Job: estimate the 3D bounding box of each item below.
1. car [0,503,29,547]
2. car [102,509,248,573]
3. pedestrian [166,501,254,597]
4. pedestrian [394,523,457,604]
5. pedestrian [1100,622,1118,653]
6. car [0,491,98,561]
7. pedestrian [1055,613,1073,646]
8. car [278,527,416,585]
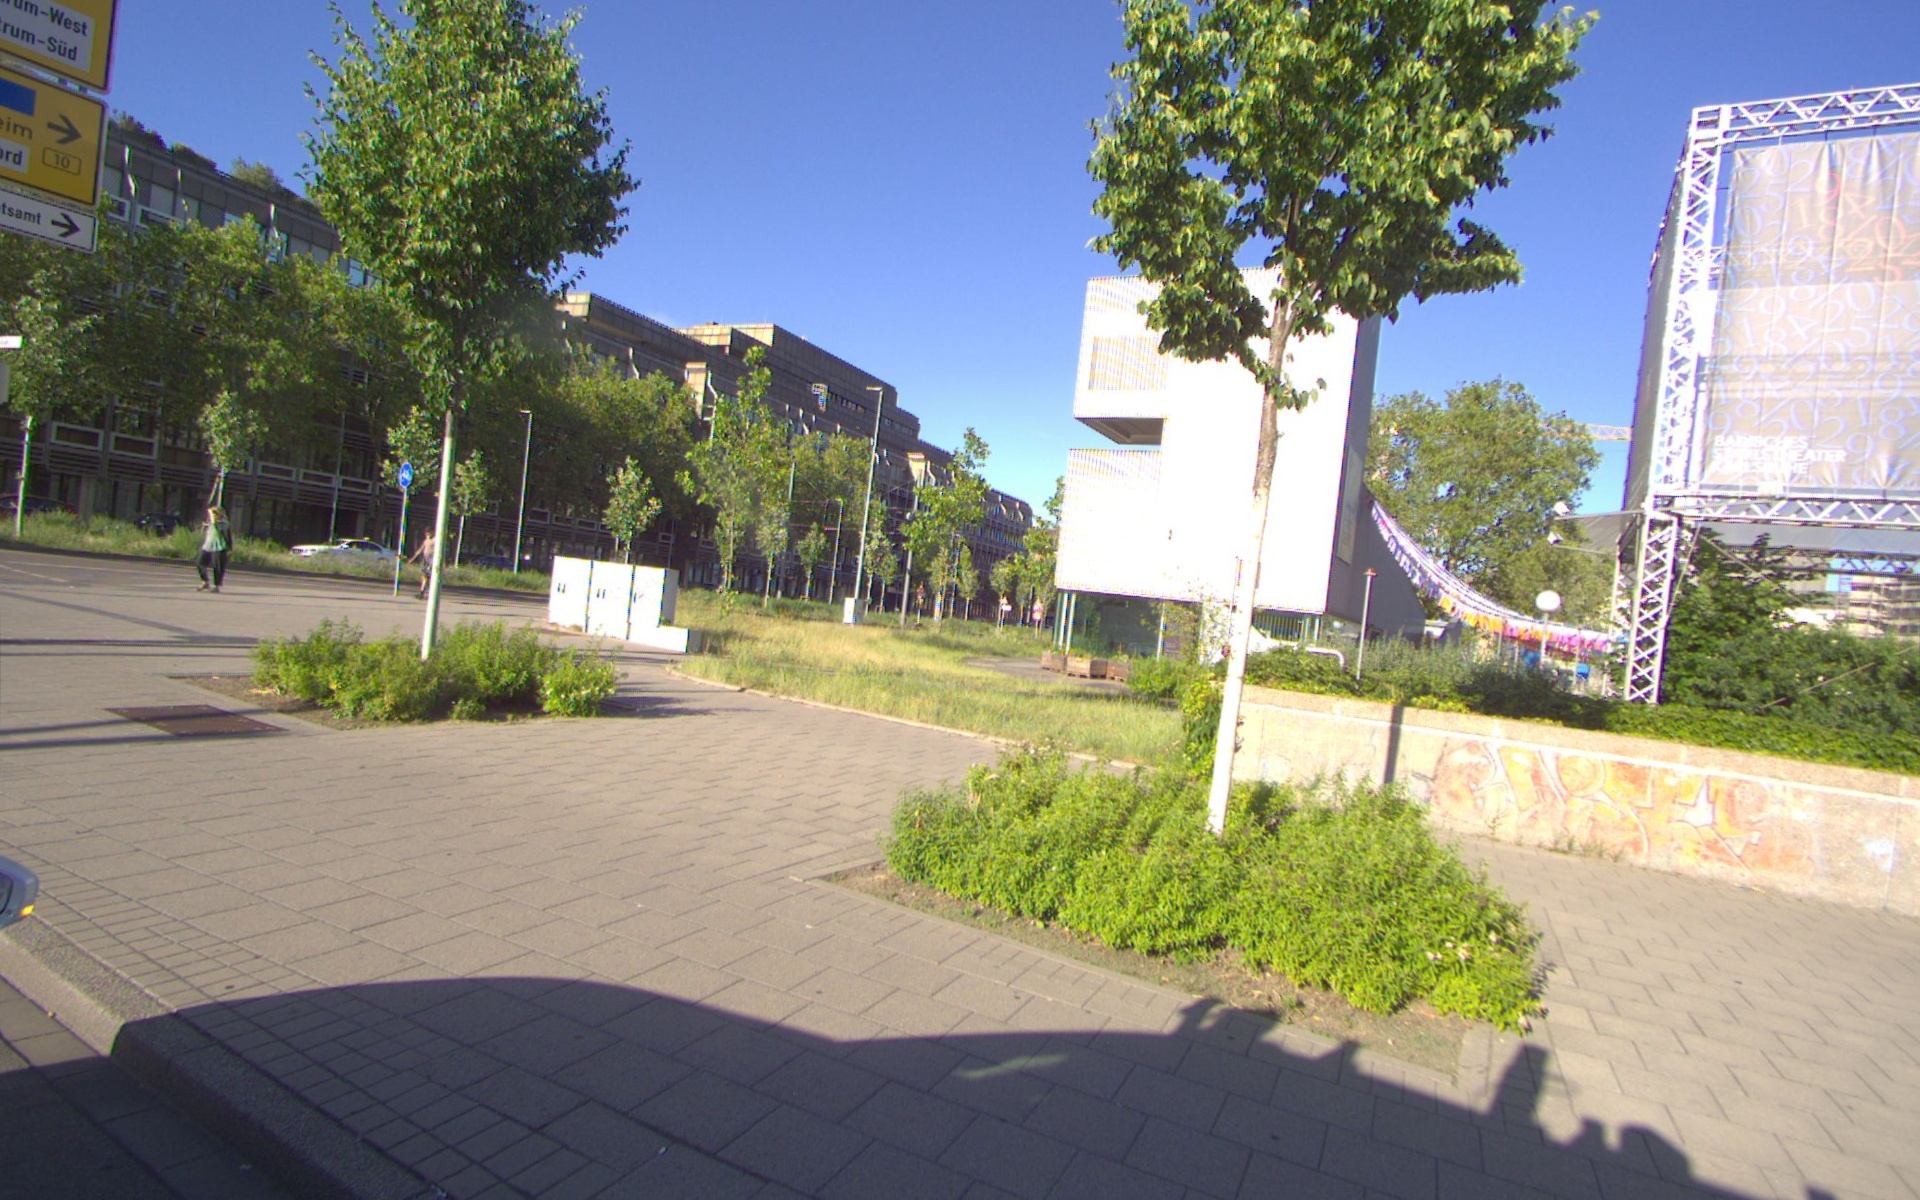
[{"bbox_3d":[-37.245,-3.042,36.939,1.836,1.525,3.997,7,-2,29],"label":"car"},{"bbox_3d":[-34.113,-2.528,43.876,1.965,2.036,4.458,7,-2,27],"label":"car"},{"bbox_3d":[-14.051,-0.940,18.857,0.925,1.650,0.803,7,1,18],"label":"pedestrian"},{"bbox_3d":[-12.492,-0.845,23.527,0.925,1.750,0.695,7,1,18],"label":"pedestrian"},{"bbox_3d":[8.868,2.206,59.768,0.772,1.750,0.625,7,1,-4],"label":"pedestrian"},{"bbox_3d":[-33.315,-2.710,35.369,1.966,2.037,3.997,6,-2,29],"label":"car"},{"bbox_3d":[5.830,1.643,56.168,0.641,1.750,0.695,7,1,21],"label":"pedestrian"},{"bbox_3d":[-30.677,-2.181,50.580,2.062,2.036,5.455,6,-2,29],"label":"car"}]
